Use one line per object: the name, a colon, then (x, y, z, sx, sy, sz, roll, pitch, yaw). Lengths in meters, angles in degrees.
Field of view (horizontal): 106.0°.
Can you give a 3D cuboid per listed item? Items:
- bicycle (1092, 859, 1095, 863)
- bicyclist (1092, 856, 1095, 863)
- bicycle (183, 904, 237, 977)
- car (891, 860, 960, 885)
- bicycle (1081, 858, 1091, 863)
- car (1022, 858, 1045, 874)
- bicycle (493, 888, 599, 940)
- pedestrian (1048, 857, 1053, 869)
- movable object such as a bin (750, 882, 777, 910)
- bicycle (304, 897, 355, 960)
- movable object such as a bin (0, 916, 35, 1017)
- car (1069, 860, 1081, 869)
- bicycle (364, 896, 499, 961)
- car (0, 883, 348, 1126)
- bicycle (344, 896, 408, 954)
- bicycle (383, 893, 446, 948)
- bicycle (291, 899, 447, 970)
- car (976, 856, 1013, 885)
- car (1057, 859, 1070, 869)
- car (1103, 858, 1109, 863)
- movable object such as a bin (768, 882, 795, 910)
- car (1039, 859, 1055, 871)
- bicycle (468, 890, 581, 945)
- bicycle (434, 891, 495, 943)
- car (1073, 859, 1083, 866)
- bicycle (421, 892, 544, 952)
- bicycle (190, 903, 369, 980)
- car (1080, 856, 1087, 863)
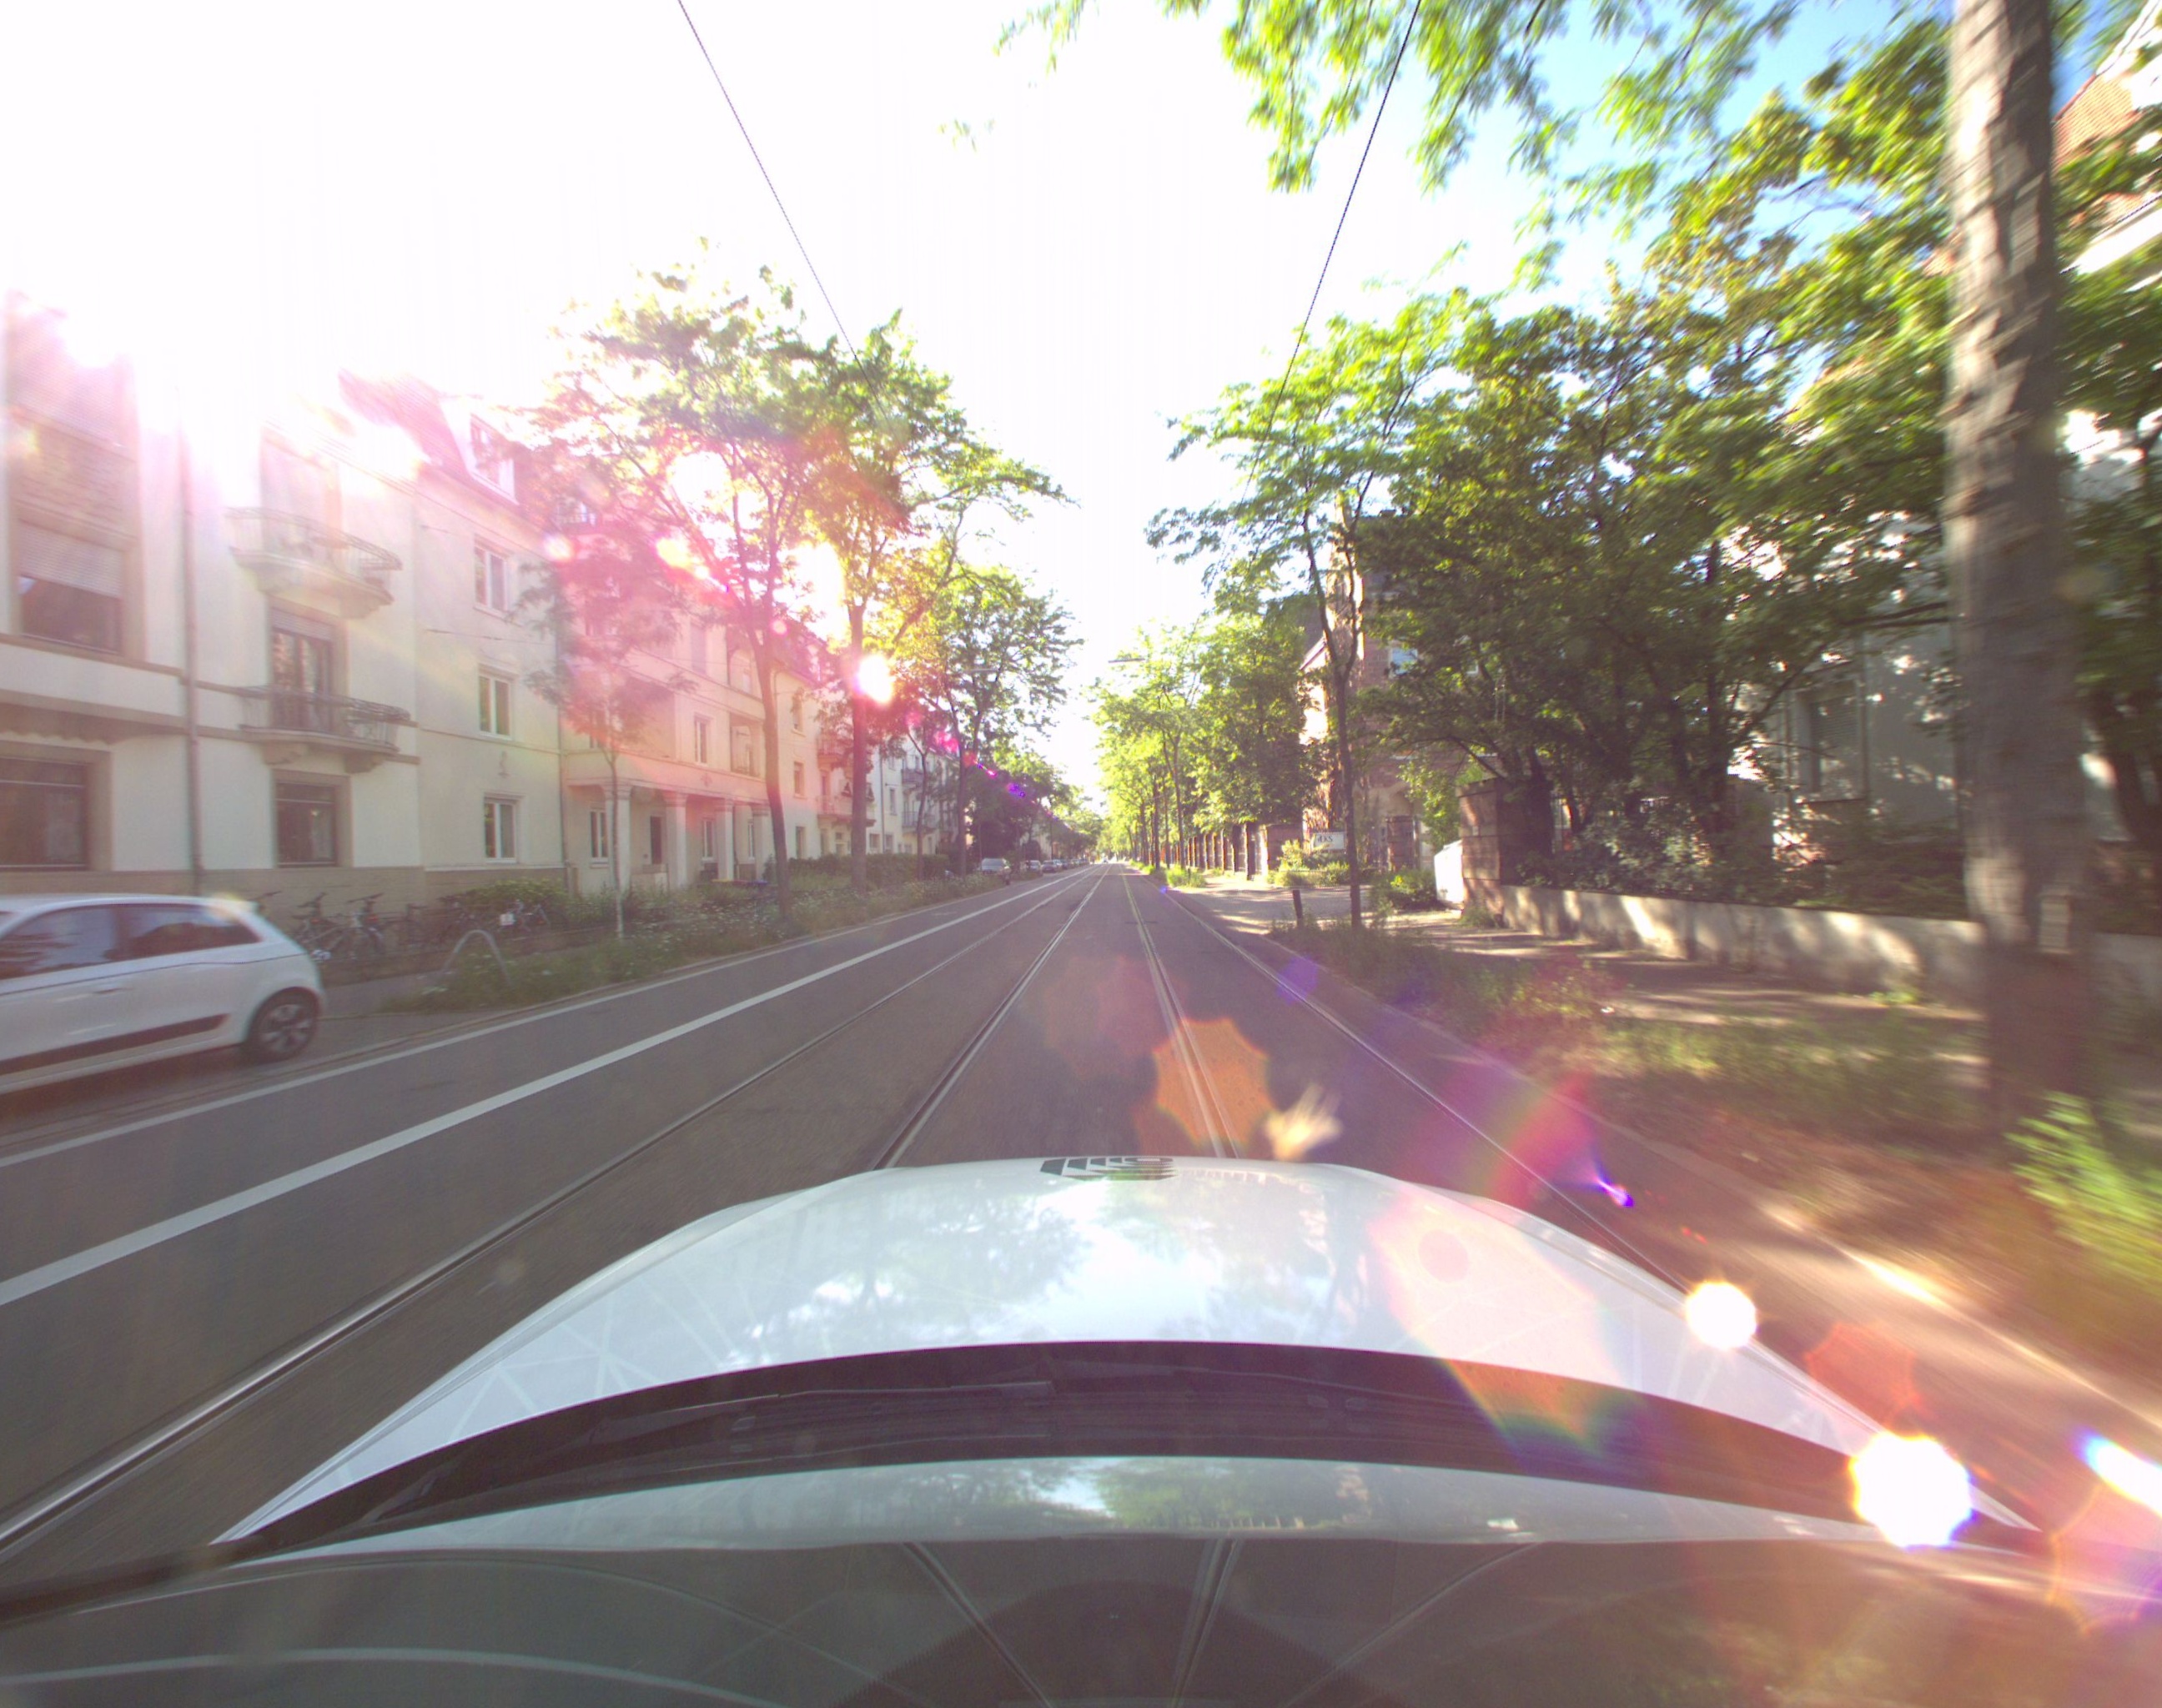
bicycle: (3.298, 1.865, 214.266, 0.624, 1.177, 1.914, -4, -1, 3)
bicyclist: (3.257, 1.459, 214.265, 0.623, 1.639, 0.940, -4, -1, 2)
bicycle: (-14.126, 1.364, 13.228, 1.839, 0.996, 0.562, 0, 1, 44)
car: (-10.574, 1.269, 55.628, 4.282, 1.661, 1.955, 0, 0, 3)
bicycle: (1.211, 1.464, 196.943, 2.271, 1.198, 0.561, 1, 0, 9)
car: (-4.607, 1.171, 79.771, 1.769, 1.541, 4.488, -1, 0, 3)
bicycle: (-11.662, 1.287, 17.792, 1.872, 0.996, 0.551, -2, -1, -41)
pedestrian: (-4.744, 1.402, 125.791, 0.689, 1.801, 0.814, -2, -1, 2)
movable object such as a bin: (-10.894, 1.435, 27.964, 0.625, 0.921, 0.740, -1, 0, 3)
bicycle: (-13.978, 1.359, 15.138, 1.839, 0.996, 0.562, 0, 1, 44)
movable object such as a bin: (-11.729, 1.203, 8.387, 0.734, 1.041, 0.896, -2, 0, 2)
car: (-0.963, 1.696, 133.807, 1.810, 1.485, 4.209, -1, 0, 2)
bicycle: (-11.767, 1.316, 14.808, 1.872, 0.996, 0.551, -2, -1, -41)
car: (-8.012, 1.063, 6.111, 1.619, 1.535, 3.690, -1, 0, 1)
bicycle: (-13.939, 1.367, 16.085, 1.838, 0.996, 0.562, 0, 1, 36)
bicycle: (-13.817, 1.359, 16.855, 1.838, 0.996, 0.562, 0, 1, 36)
bicycle: (-11.851, 1.318, 13.628, 1.869, 0.996, 0.553, -2, -1, -32)
car: (-5.711, 1.064, 54.206, 1.864, 1.823, 4.772, -1, 0, 1)
car: (-2.598, 1.455, 120.584, 1.751, 1.511, 4.440, -1, 0, 1)
car: (7.011, 1.809, 228.974, 1.751, 1.439, 4.525, -2, 0, 1)
movable object such as a bin: (-10.206, 1.421, 27.746, 0.625, 0.921, 0.740, -1, 0, 3)
car: (-4.090, 1.299, 98.663, 1.699, 1.406, 4.335, -1, 0, 2)
bicycle: (-11.555, 1.291, 16.949, 1.872, 0.996, 0.551, -2, -1, -41)
bicycle: (-13.474, 1.353, 17.789, 1.838, 0.996, 0.562, 0, 1, 36)
car: (-0.554, 1.662, 159.789, 1.696, 1.485, 4.081, 1, 0, 2)
bicycle: (-11.664, 1.302, 15.915, 1.872, 0.996, 0.551, -2, -1, -41)
bicycle: (-12.304, 1.326, 12.579, 1.866, 0.996, 0.553, -2, 0, -27)
car: (0.551, 1.200, 177.491, 1.555, 1.457, 3.931, 1, 0, 0)
